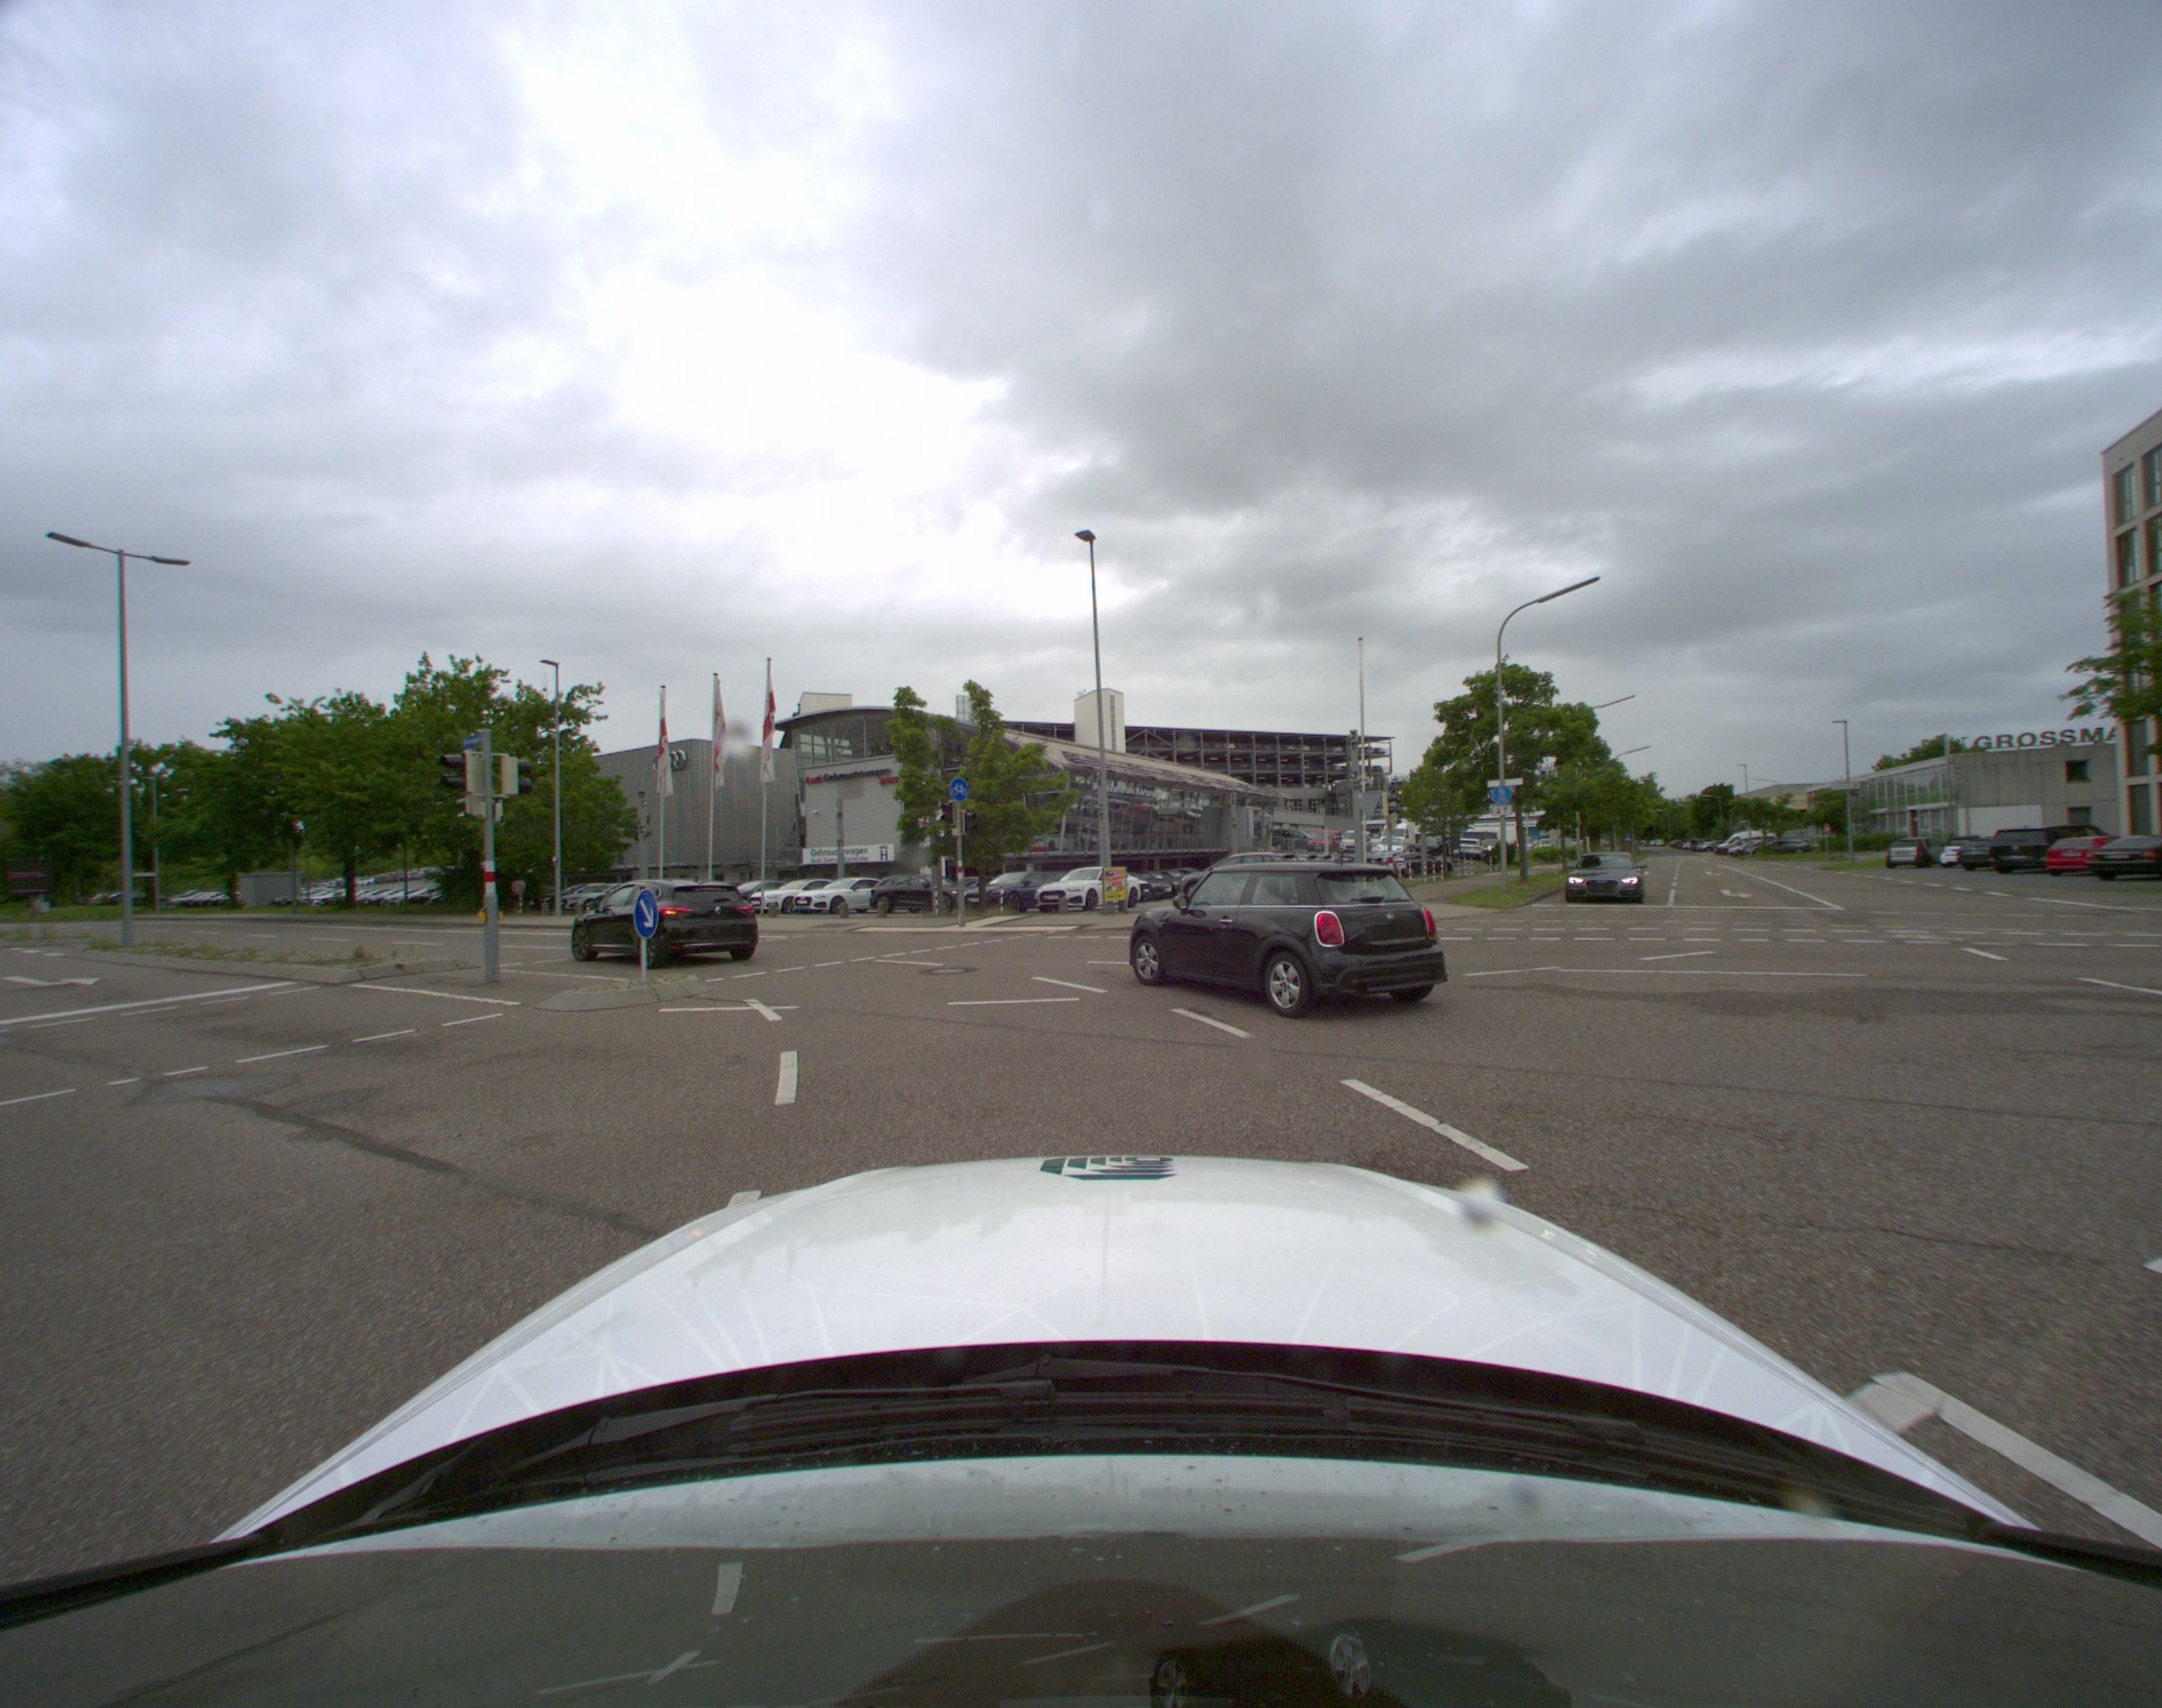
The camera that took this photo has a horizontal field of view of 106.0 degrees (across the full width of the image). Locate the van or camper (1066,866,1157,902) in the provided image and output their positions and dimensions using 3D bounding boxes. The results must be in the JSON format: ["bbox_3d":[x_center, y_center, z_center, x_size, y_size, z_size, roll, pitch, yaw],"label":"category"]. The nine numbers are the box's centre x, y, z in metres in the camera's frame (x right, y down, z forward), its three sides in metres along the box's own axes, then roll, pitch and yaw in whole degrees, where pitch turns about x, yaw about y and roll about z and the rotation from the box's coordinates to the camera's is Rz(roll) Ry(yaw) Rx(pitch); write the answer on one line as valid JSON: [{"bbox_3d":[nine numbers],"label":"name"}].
[{"bbox_3d":[1.492,1.431,40.052,3.949,1.677,2.012,0,-1,31],"label":"van or camper"}]

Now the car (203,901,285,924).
[{"bbox_3d":[-71.307,4.937,69.467,1.974,1.571,4.488,-2,0,31],"label":"car"}]

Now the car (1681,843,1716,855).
[{"bbox_3d":[115.624,-0.920,152.635,5.123,2.014,2.157,0,-1,34],"label":"car"}]

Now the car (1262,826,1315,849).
[{"bbox_3d":[17.305,-1.326,68.003,3.948,1.838,1.771,0,-1,32],"label":"car"}]

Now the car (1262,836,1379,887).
[{"bbox_3d":[10.997,0.395,37.405,4.727,2.014,2.012,-4,-2,28],"label":"car"}]

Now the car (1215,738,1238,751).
[{"bbox_3d":[24.741,-18.581,138.706,2.002,1.667,3.969,-1,0,-23],"label":"car"}]

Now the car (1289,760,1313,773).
[{"bbox_3d":[39.126,-15.544,144.805,2.002,1.667,3.969,-1,0,-23],"label":"car"}]

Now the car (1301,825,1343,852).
[{"bbox_3d":[17.698,-1.111,59.604,1.974,1.849,4.025,0,0,31],"label":"car"}]

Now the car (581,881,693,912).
[{"bbox_3d":[-20.753,1.978,38.233,1.878,1.391,4.193,-2,-3,31],"label":"car"}]

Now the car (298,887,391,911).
[{"bbox_3d":[-52.416,3.244,58.081,1.974,1.521,4.433,0,-5,32],"label":"car"}]

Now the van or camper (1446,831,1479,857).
[{"bbox_3d":[30.320,-0.740,64.664,1.974,2.014,4.025,0,0,31],"label":"van or camper"}]

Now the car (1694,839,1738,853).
[{"bbox_3d":[97.405,-1.163,124.990,5.123,2.014,2.157,0,-1,34],"label":"car"}]

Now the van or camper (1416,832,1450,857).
[{"bbox_3d":[28.424,-0.731,65.753,1.974,2.014,4.025,0,0,31],"label":"van or camper"}]

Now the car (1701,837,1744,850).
[{"bbox_3d":[93.962,-1.488,119.283,4.739,1.891,2.157,0,-1,32],"label":"car"}]

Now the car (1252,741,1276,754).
[{"bbox_3d":[31.828,-18.599,141.763,2.002,1.667,3.969,-1,0,-23],"label":"car"}]

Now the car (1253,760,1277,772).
[{"bbox_3d":[32.006,-15.333,141.655,2.002,1.667,3.969,-1,0,-23],"label":"car"}]

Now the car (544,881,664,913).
[{"bbox_3d":[-23.055,2.068,39.563,1.824,1.472,4.693,-2,-3,31],"label":"car"}]

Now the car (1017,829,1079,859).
[{"bbox_3d":[-1.918,-0.541,48.120,1.802,1.662,4.025,0,0,30],"label":"car"}]

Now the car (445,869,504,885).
[{"bbox_3d":[-61.736,2.310,82.940,2.043,1.496,4.376,0,0,30],"label":"car"}]

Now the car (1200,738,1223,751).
[{"bbox_3d":[22.065,-18.480,137.635,2.002,1.667,3.969,-1,0,-23],"label":"car"}]

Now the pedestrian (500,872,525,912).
[{"bbox_3d":[-27.292,1.814,39.098,0.665,1.871,0.724,-3,-3,31],"label":"pedestrian"}]

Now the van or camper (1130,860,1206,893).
[{"bbox_3d":[4.974,1.259,46.651,3.949,1.816,1.859,0,-1,31],"label":"van or camper"}]

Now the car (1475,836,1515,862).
[{"bbox_3d":[27.512,-0.302,54.034,1.974,1.618,4.025,0,0,33],"label":"car"}]

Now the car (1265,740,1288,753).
[{"bbox_3d":[34.275,-18.782,142.880,2.002,1.667,3.969,-1,0,-23],"label":"car"}]

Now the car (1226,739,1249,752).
[{"bbox_3d":[26.852,-18.580,139.525,2.002,1.667,3.969,-1,0,-23],"label":"car"}]

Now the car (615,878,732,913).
[{"bbox_3d":[-18.368,1.867,36.912,1.870,1.471,4.406,-2,-3,31],"label":"car"}]

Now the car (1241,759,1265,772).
[{"bbox_3d":[29.699,-15.269,140.656,2.002,1.667,3.969,-1,0,-23],"label":"car"}]

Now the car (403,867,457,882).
[{"bbox_3d":[-68.927,2.183,86.250,1.708,1.496,4.124,0,0,30],"label":"car"}]

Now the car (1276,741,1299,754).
[{"bbox_3d":[36.365,-18.774,143.658,2.002,1.667,3.969,-1,0,-23],"label":"car"}]

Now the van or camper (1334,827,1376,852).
[{"bbox_3d":[19.555,-1.006,58.014,1.974,1.651,4.025,0,0,31],"label":"van or camper"}]

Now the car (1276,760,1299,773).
[{"bbox_3d":[36.341,-15.412,143.596,2.002,1.667,3.969,-1,0,-23],"label":"car"}]

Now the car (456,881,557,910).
[{"bbox_3d":[-32.432,2.374,46.068,1.847,1.394,4.160,0,-6,31],"label":"car"}]

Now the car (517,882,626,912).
[{"bbox_3d":[-25.512,2.143,40.901,1.832,1.421,4.243,-2,-3,31],"label":"car"}]

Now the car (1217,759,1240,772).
[{"bbox_3d":[25.012,-15.020,138.637,2.002,1.667,3.969,-1,0,-23],"label":"car"}]

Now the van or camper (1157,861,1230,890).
[{"bbox_3d":[6.813,1.255,49.260,3.949,1.711,1.859,0,-1,31],"label":"van or camper"}]

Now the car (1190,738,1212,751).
[{"bbox_3d":[20.103,-18.332,136.490,2.002,1.667,3.969,-1,0,-23],"label":"car"}]

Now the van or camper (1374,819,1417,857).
[{"bbox_3d":[26.147,-1.261,67.636,2.511,3.026,4.874,0,-1,31],"label":"van or camper"}]

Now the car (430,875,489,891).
[{"bbox_3d":[-64.174,3.014,84.133,1.945,1.496,4.376,0,0,30],"label":"car"}]

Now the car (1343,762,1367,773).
[{"bbox_3d":[50.622,-15.945,150.527,2.002,1.667,3.969,-1,0,-23],"label":"car"}]

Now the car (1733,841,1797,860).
[{"bbox_3d":[69.664,-0.306,83.059,4.739,1.891,2.157,0,-1,32],"label":"car"}]

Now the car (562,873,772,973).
[{"bbox_3d":[-7.277,1.086,14.166,3.948,1.434,1.774,-1,0,39],"label":"car"}]

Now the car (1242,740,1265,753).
[{"bbox_3d":[29.734,-18.601,140.755,2.002,1.667,3.969,-1,0,-23],"label":"car"}]

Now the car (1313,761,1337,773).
[{"bbox_3d":[44.078,-15.650,147.188,2.002,1.667,3.969,-1,0,-23],"label":"car"}]

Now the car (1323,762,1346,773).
[{"bbox_3d":[46.125,-15.731,148.167,2.002,1.667,3.969,-1,0,-23],"label":"car"}]

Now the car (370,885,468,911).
[{"bbox_3d":[-41.557,2.788,51.223,1.934,1.486,4.234,0,-4,31],"label":"car"}]

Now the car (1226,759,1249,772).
[{"bbox_3d":[26.930,-15.151,139.852,2.002,1.667,3.969,-1,0,-23],"label":"car"}]

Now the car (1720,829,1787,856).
[{"bbox_3d":[81.375,-1.367,98.636,6.057,3.116,2.148,0,-1,33],"label":"car"}]

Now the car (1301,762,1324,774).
[{"bbox_3d":[41.462,-15.490,146.060,2.002,1.667,3.969,-1,0,-23],"label":"car"}]

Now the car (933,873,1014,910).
[{"bbox_3d":[-5.489,1.893,42.050,1.787,1.695,4.346,0,0,31],"label":"car"}]

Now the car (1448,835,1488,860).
[{"bbox_3d":[25.722,-0.410,54.079,1.974,1.618,4.025,0,0,31],"label":"car"}]

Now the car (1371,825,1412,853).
[{"bbox_3d":[21.630,-0.989,56.719,1.974,1.823,4.025,0,0,31],"label":"car"}]

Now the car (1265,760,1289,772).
[{"bbox_3d":[34.325,-15.387,142.730,2.002,1.667,3.969,-1,0,-23],"label":"car"}]

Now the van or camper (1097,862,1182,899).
[{"bbox_3d":[3.016,1.348,42.216,3.949,1.816,1.859,0,-1,31],"label":"van or camper"}]
